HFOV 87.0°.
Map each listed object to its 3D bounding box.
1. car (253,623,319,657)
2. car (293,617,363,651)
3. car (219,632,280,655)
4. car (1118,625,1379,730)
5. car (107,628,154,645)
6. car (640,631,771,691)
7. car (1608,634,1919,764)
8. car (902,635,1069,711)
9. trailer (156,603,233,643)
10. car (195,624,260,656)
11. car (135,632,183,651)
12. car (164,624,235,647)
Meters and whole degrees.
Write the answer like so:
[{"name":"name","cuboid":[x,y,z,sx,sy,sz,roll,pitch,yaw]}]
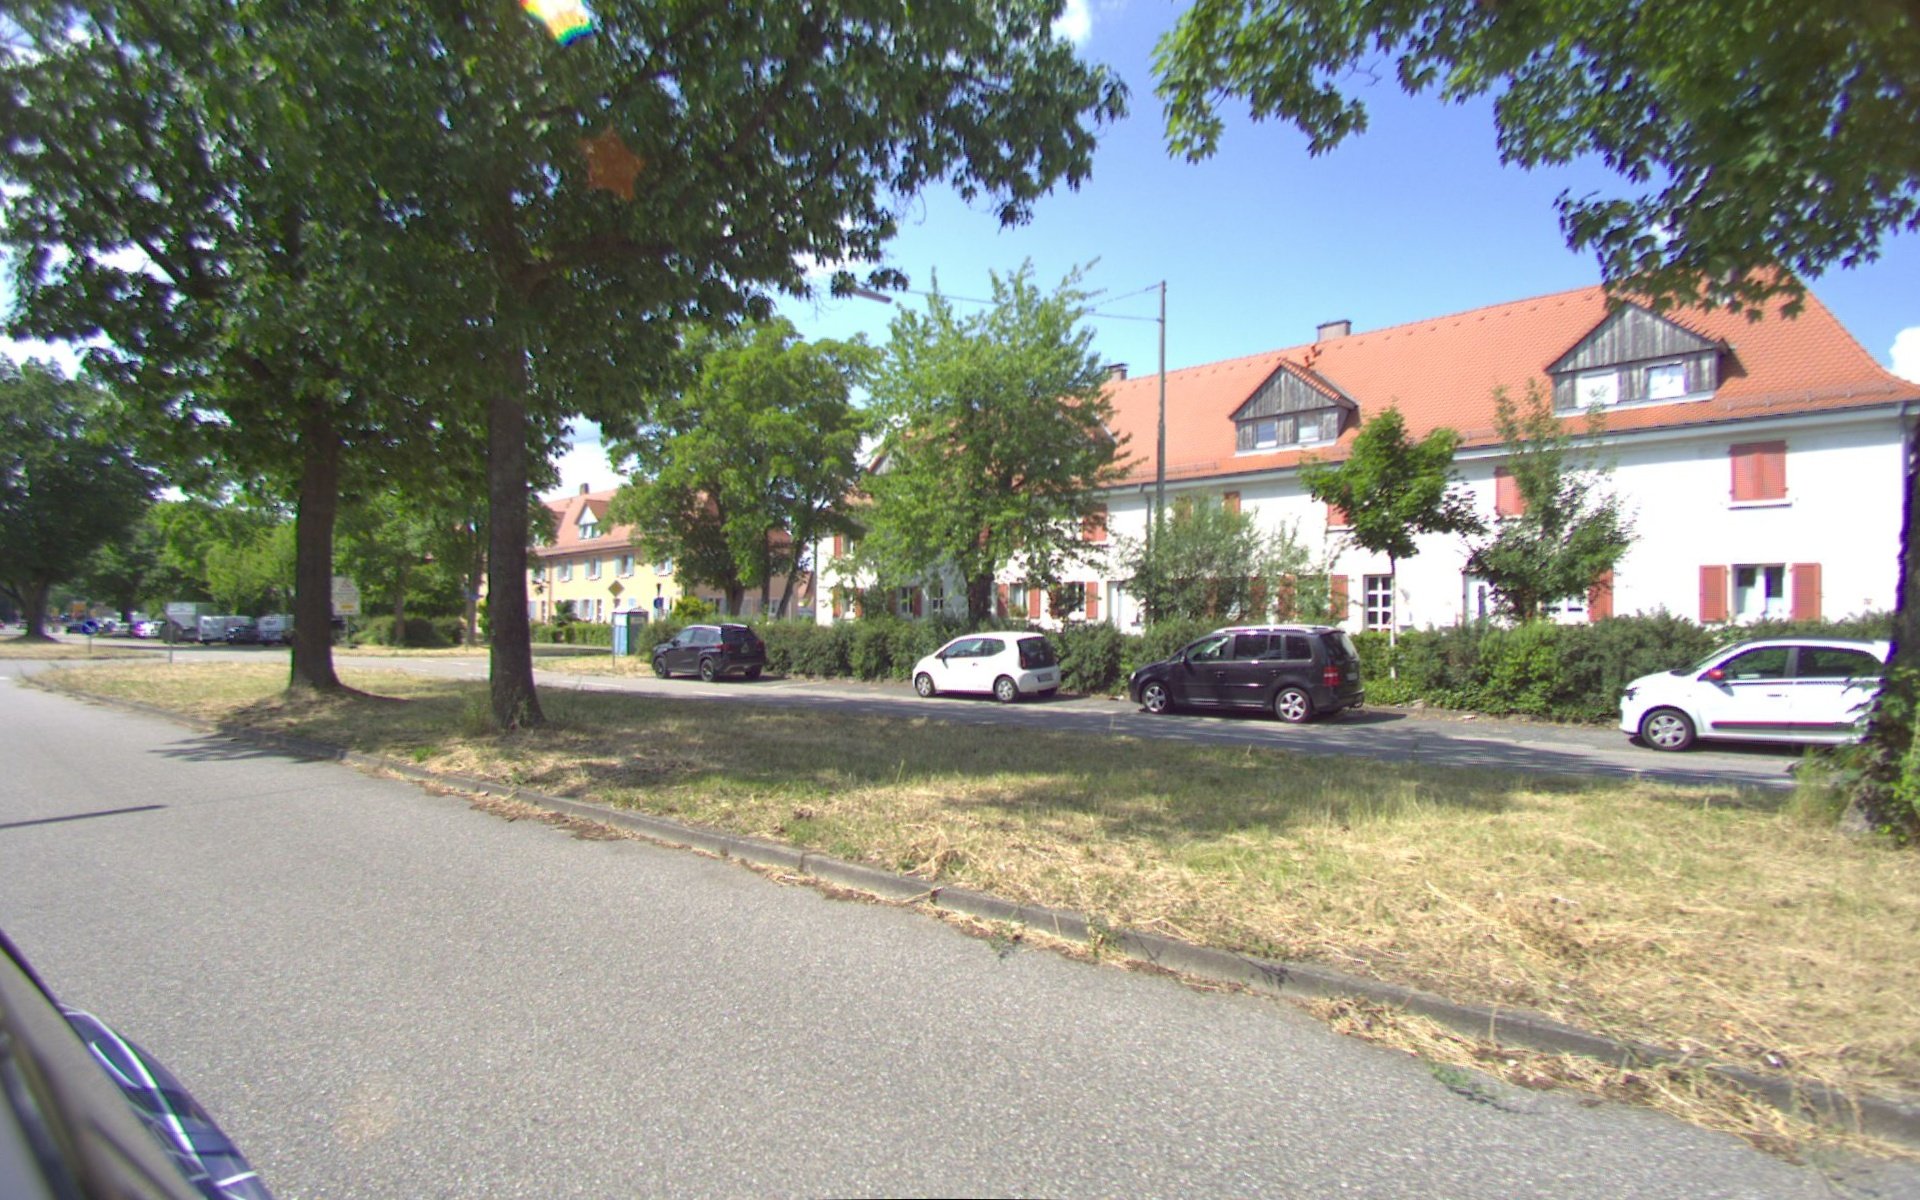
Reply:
[{"name":"car","cuboid":[-44.372,2.620,66.724,1.779,2.029,4.002,-1,0,-2]},{"name":"car","cuboid":[-37.525,1.989,60.207,1.779,1.874,4.001,-1,-1,-2]},{"name":"car","cuboid":[-49.279,2.995,70.253,1.550,1.408,4.002,-1,0,-2]},{"name":"car","cuboid":[5.208,1.319,18.612,4.311,1.624,1.643,-1,0,40]},{"name":"car","cuboid":[-78.808,3.456,96.217,1.646,1.358,3.827,-1,0,-8]},{"name":"car","cuboid":[-7.535,1.738,29.832,3.997,1.563,1.749,-1,0,40]},{"name":"car","cuboid":[11.124,1.248,13.646,3.844,1.462,1.643,-1,0,40]},{"name":"car","cuboid":[0.530,1.578,22.755,3.533,1.472,1.577,-1,0,40]},{"name":"trailer","cuboid":[-63.510,1.899,84.123,2.782,3.132,5.766,-2,0,-11]},{"name":"car","cuboid":[-51.794,2.784,71.666,1.779,2.029,4.002,-1,0,-2]},{"name":"car","cuboid":[-71.837,3.729,90.862,1.646,1.475,3.827,-1,0,-8]},{"name":"car","cuboid":[-55.937,2.601,74.476,1.799,1.521,3.945,-1,0,41]}]
